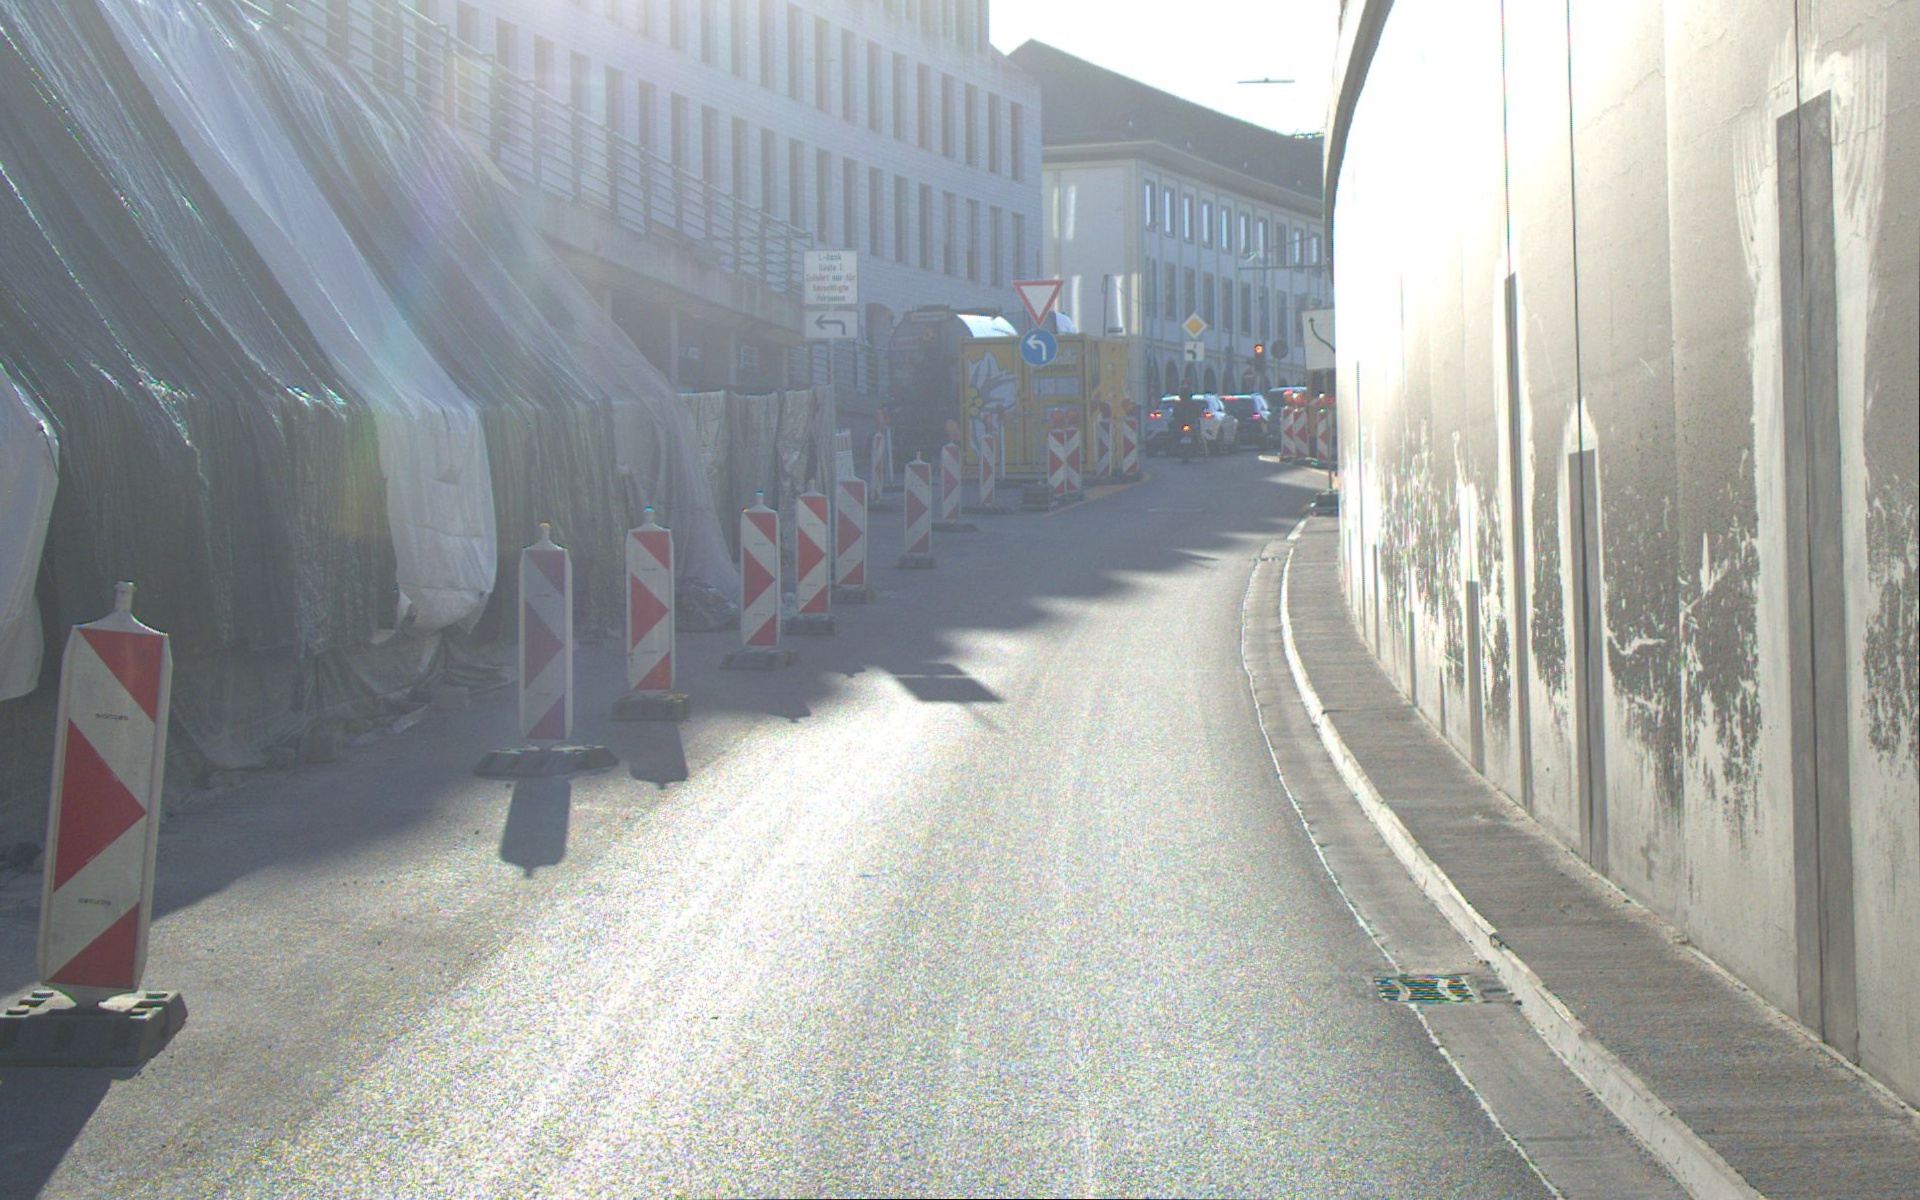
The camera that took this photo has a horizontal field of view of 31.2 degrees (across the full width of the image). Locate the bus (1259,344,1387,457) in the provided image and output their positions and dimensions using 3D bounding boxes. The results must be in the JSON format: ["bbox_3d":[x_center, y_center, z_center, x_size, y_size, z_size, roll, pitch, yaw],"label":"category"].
[{"bbox_3d":[8.503,-4.647,80.203,2.226,2.548,4.424,1,3,16],"label":"bus"}]

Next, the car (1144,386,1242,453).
[{"bbox_3d":[5.697,-4.379,83.697,1.777,1.598,3.998,1,3,13],"label":"car"}]

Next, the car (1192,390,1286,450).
[{"bbox_3d":[7.317,-4.687,89.878,1.822,1.528,3.998,1,3,14],"label":"car"}]

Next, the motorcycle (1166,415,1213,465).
[{"bbox_3d":[5.127,-3.566,76.814,0.771,0.989,2.182,0,0,11],"label":"motorcycle"}]

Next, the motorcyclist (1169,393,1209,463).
[{"bbox_3d":[5.115,-3.833,76.700,0.804,1.499,0.776,0,0,11],"label":"motorcyclist"}]
